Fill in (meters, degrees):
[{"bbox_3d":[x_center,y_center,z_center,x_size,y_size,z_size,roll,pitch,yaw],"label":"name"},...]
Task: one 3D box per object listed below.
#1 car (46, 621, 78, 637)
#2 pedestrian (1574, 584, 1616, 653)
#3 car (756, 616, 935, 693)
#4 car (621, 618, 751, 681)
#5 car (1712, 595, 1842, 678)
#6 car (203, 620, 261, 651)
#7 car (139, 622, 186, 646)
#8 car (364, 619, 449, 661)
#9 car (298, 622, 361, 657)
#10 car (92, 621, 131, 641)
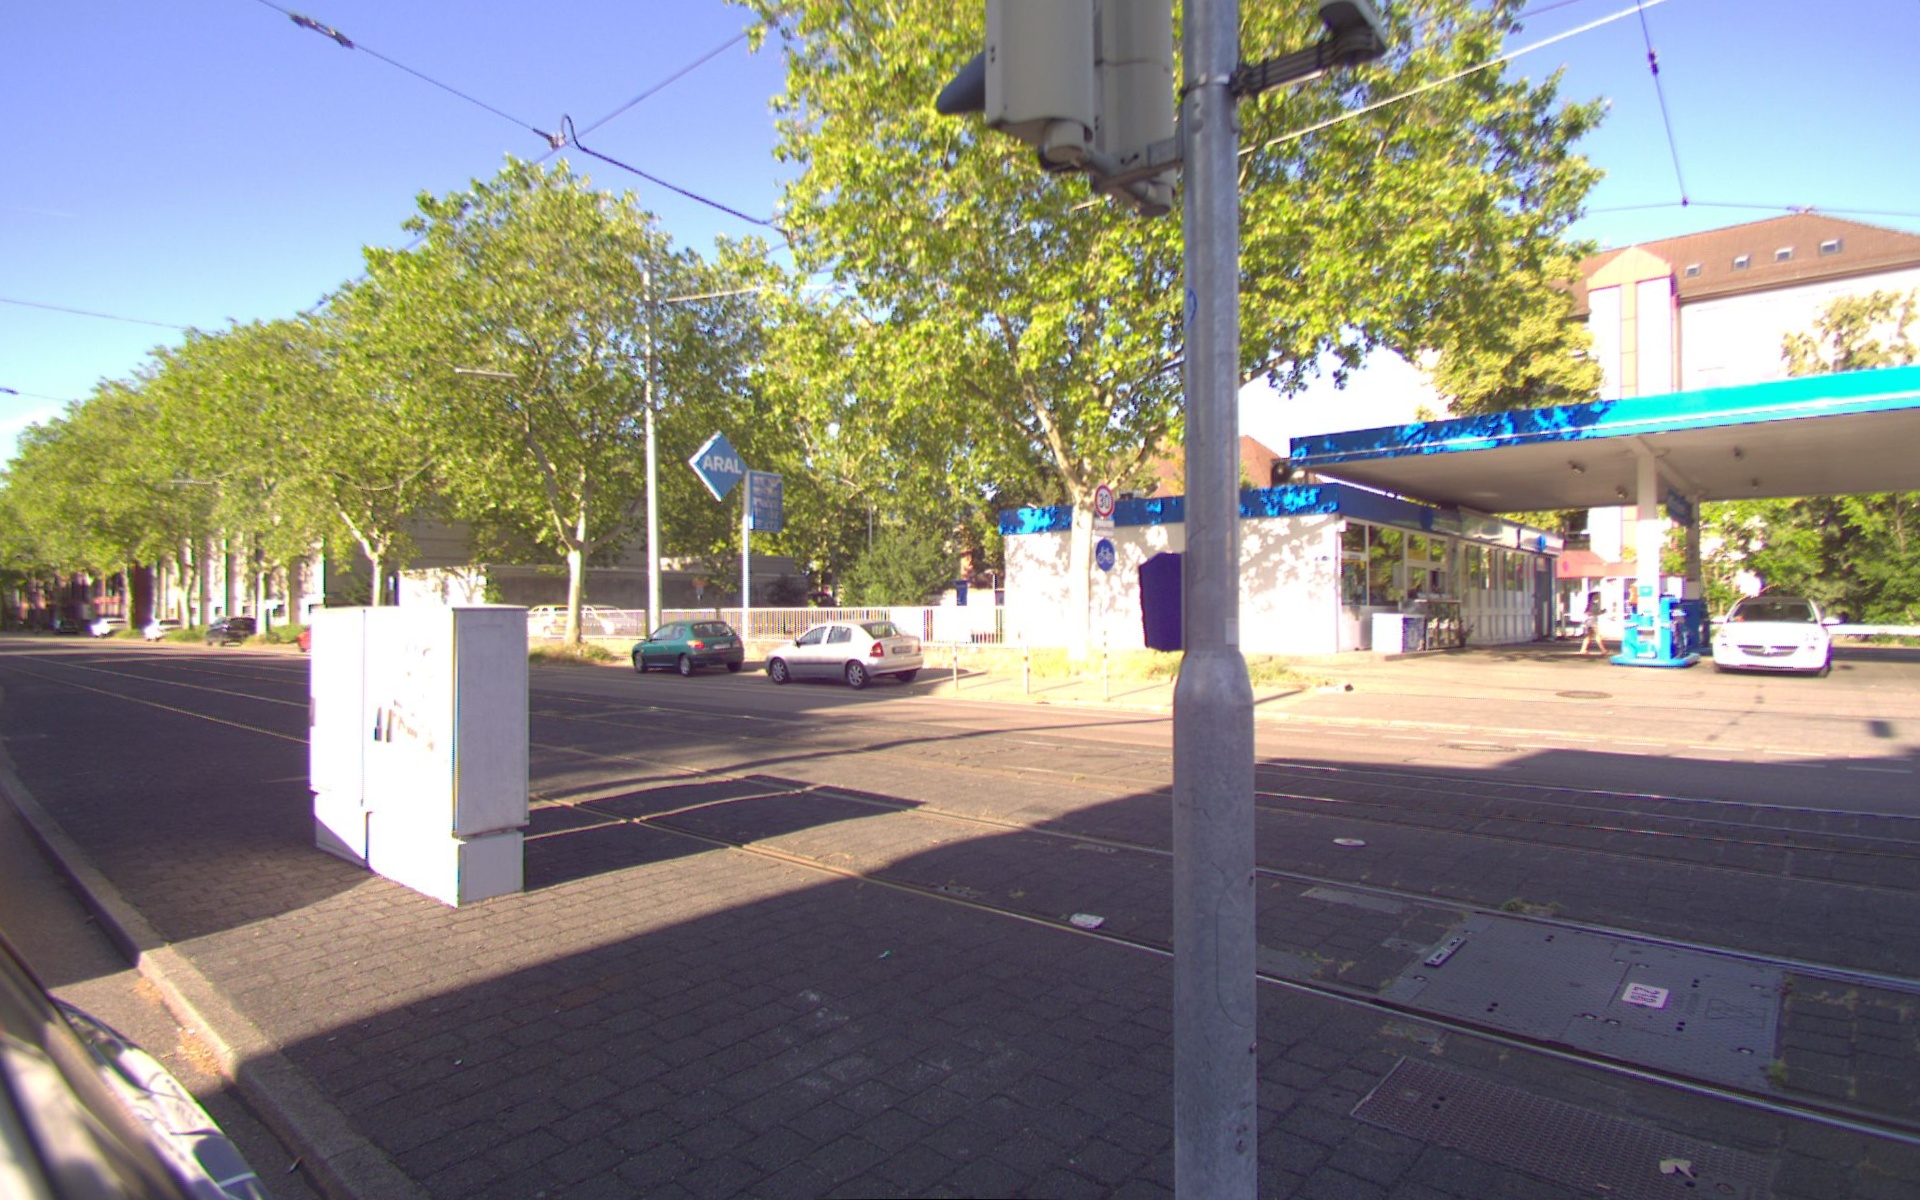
[{"bbox_3d":[-85.319,2.738,96.124,3.998,1.525,1.779,-1,-1,41],"label":"car"},{"bbox_3d":[15.923,0.464,25.369,0.761,1.705,0.578,-2,-2,44],"label":"pedestrian"},{"bbox_3d":[-2.628,1.159,22.666,3.965,1.475,1.771,-1,2,43],"label":"car"},{"bbox_3d":[-7.326,1.277,26.935,3.519,1.475,1.670,-1,2,43],"label":"car"},{"bbox_3d":[16.028,0.674,19.911,1.812,1.453,3.947,-1,-1,39],"label":"car"},{"bbox_3d":[-40.751,1.956,56.595,3.998,1.674,1.779,-1,-1,41],"label":"car"},{"bbox_3d":[-53.717,2.270,68.169,3.998,1.509,1.779,-1,-1,41],"label":"car"},{"bbox_3d":[-21.939,1.552,40.056,3.652,1.541,1.802,-1,-1,41],"label":"car"},{"bbox_3d":[-28.553,1.753,45.804,3.045,1.519,1.620,-1,-1,41],"label":"car"},{"bbox_3d":[-66.680,2.406,79.535,3.998,1.525,1.779,-1,-1,41],"label":"car"}]
